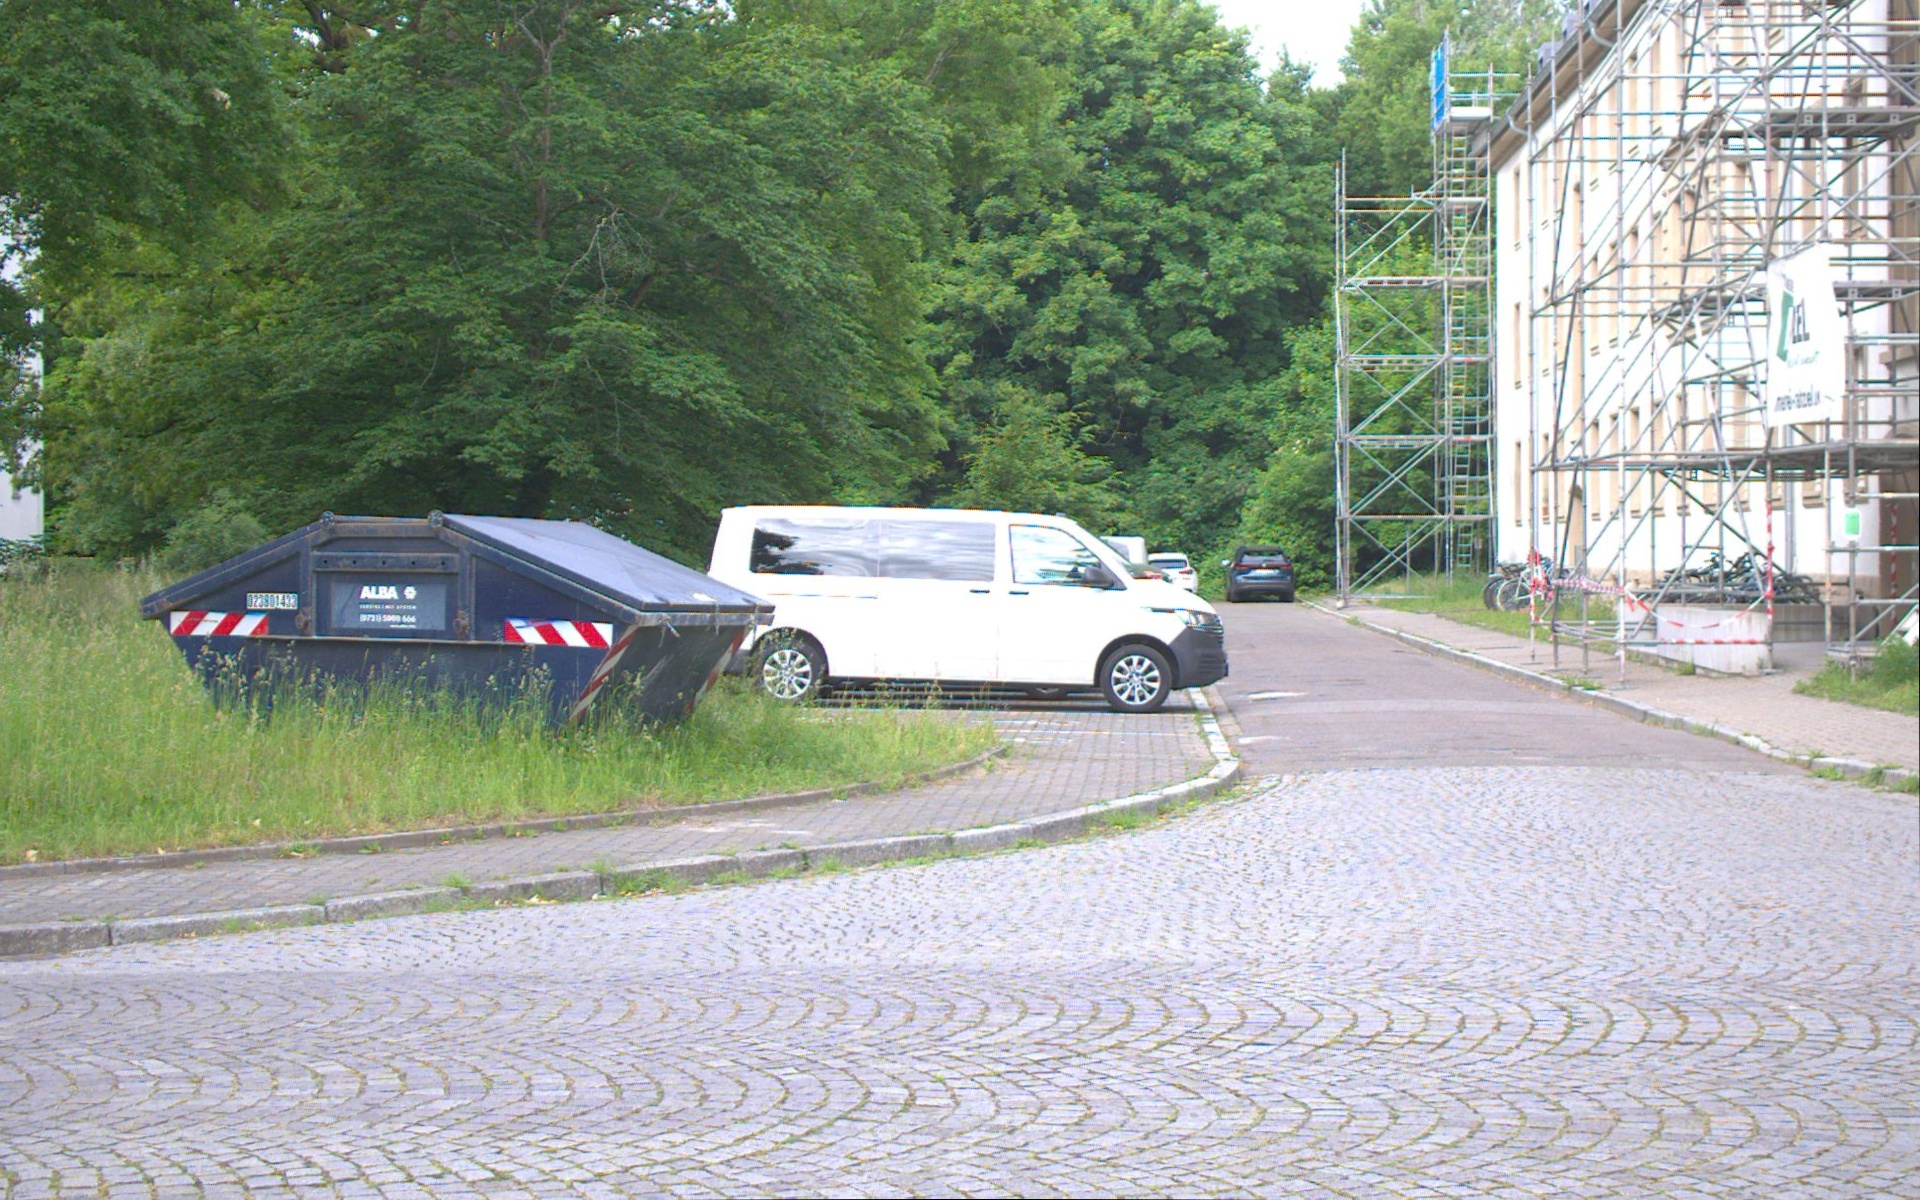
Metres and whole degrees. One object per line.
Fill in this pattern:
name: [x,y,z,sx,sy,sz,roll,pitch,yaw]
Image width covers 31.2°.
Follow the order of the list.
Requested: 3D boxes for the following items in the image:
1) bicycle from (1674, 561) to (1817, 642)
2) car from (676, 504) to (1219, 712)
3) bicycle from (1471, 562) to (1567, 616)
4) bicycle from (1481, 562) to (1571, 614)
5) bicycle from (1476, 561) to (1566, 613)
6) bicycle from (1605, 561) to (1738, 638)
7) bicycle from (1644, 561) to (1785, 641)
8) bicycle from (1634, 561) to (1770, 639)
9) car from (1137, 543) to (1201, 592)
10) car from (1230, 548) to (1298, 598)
bicycle: [10.563,0.018,46.261,1.857,1.091,0.511,0,0,10]
car: [-0.087,0.066,34.287,5.259,1.990,1.968,0,1,3]
bicycle: [11.420,-0.235,70.258,1.858,1.091,0.510,0,1,25]
bicycle: [11.924,-0.245,72.400,1.857,1.091,0.511,0,0,10]
bicycle: [11.688,-0.271,71.620,1.857,1.091,0.511,0,0,10]
bicycle: [10.224,-0.005,49.420,1.857,1.091,0.511,0,0,10]
bicycle: [10.270,0.012,46.825,1.857,1.091,0.511,0,0,10]
bicycle: [10.437,0.003,48.412,1.857,1.091,0.511,0,0,10]
car: [5.876,-0.916,96.819,1.578,1.334,3.953,0,1,0]
car: [8.547,-0.764,96.762,1.578,1.366,3.953,0,1,0]
